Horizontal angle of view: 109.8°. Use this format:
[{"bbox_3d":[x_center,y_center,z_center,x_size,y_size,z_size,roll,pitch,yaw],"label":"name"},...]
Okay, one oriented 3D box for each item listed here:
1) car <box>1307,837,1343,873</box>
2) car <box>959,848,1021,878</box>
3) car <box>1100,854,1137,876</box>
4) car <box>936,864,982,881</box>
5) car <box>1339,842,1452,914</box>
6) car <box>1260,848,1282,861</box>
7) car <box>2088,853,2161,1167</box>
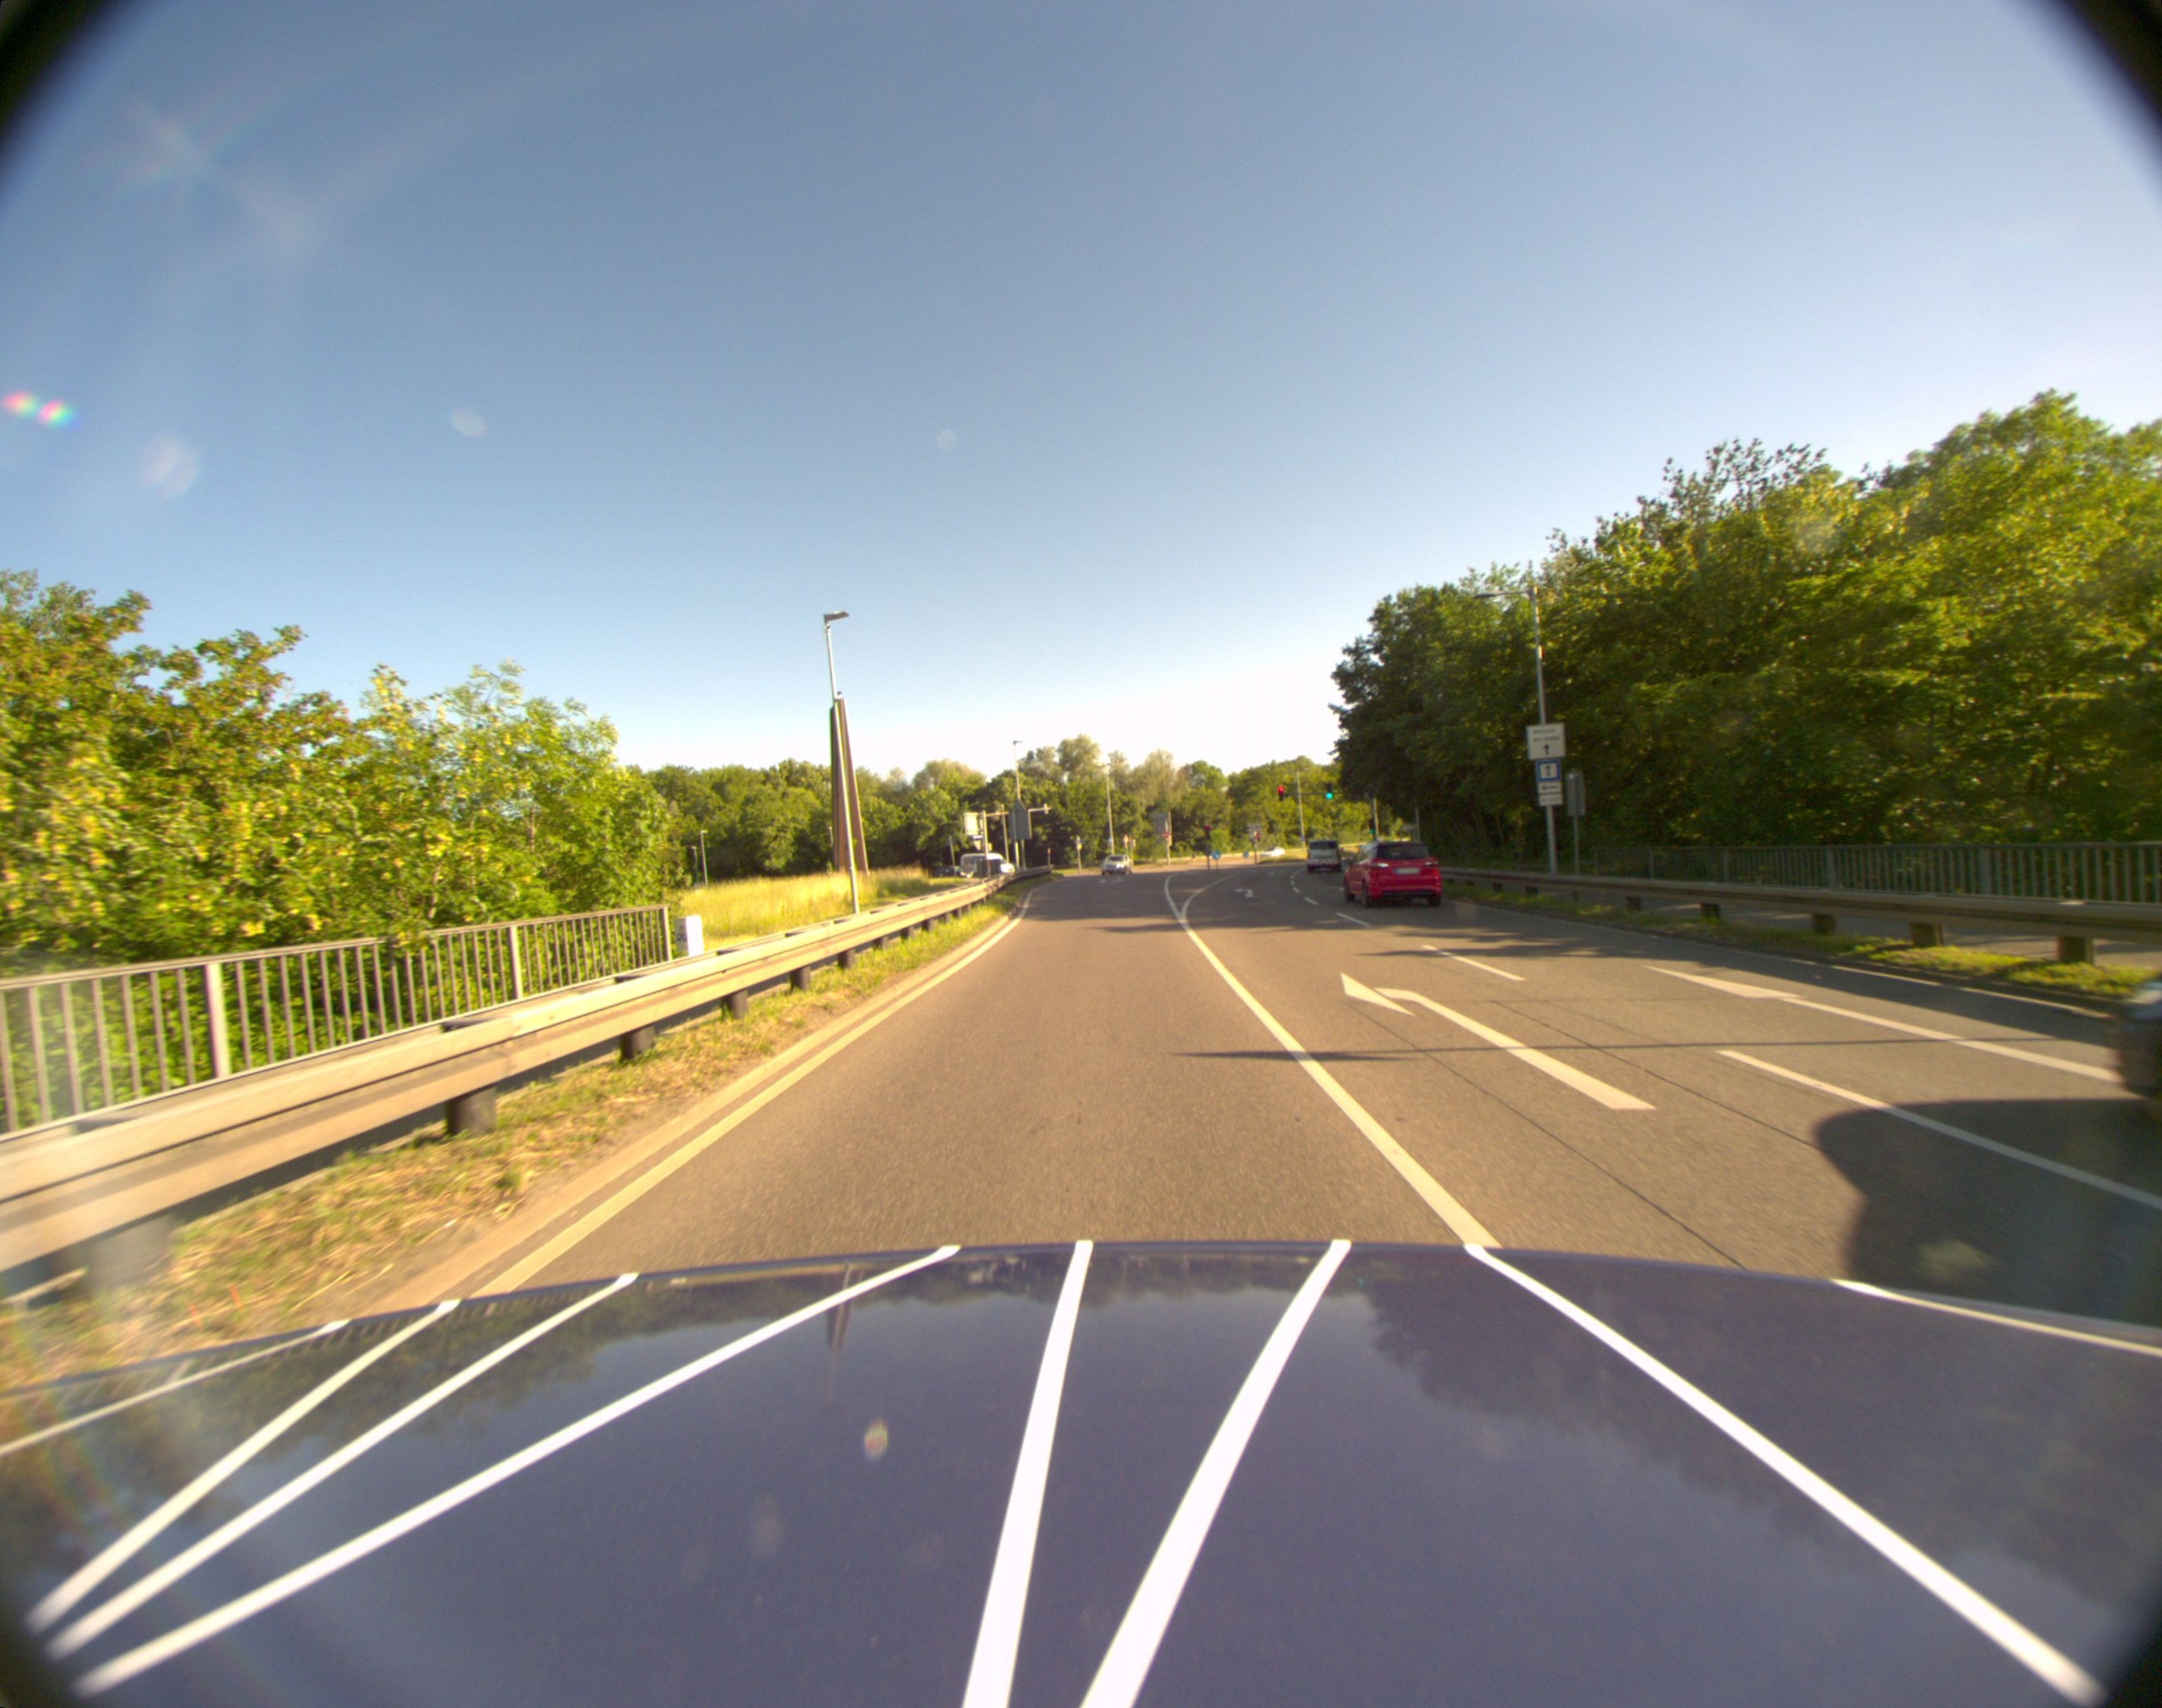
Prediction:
[{"bbox_3d":[15.251,0.042,47.687,1.951,2.100,5.276,-1,1,16],"label":"car"},{"bbox_3d":[-8.585,0.873,71.556,5.692,2.484,2.119,-4,-1,35],"label":"car"},{"bbox_3d":[2.760,0.788,55.341,1.762,1.428,4.334,-2,0,15],"label":"car"},{"bbox_3d":[-11.083,1.681,69.103,3.977,1.405,1.848,-2,0,36],"label":"car"},{"bbox_3d":[7.996,0.546,19.690,1.807,1.628,4.002,-2,0,9],"label":"car"},{"bbox_3d":[24.595,0.075,98.329,1.990,1.465,4.136,-2,0,23],"label":"car"},{"bbox_3d":[5.867,0.725,1.609,1.728,1.477,4.407,-2,0,3],"label":"car"}]
